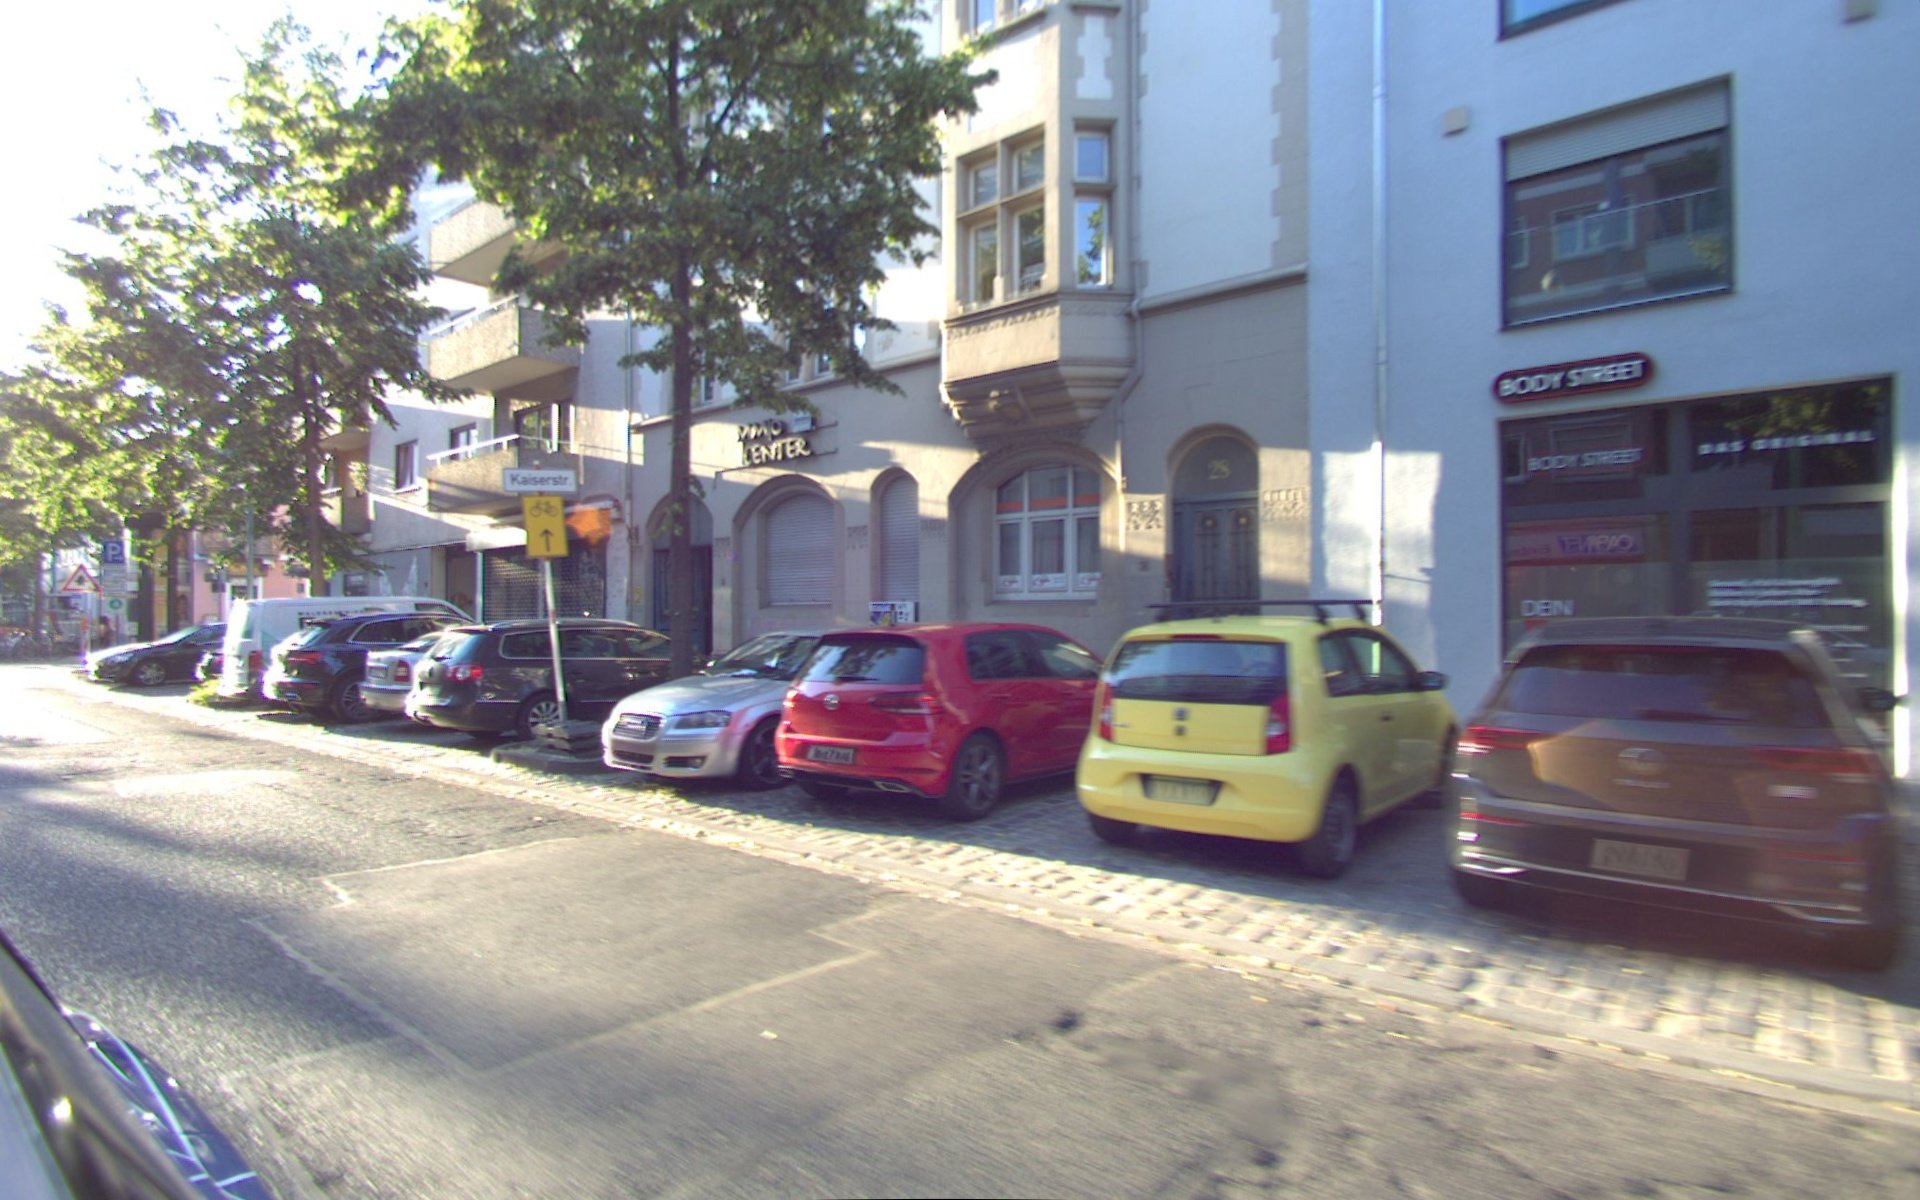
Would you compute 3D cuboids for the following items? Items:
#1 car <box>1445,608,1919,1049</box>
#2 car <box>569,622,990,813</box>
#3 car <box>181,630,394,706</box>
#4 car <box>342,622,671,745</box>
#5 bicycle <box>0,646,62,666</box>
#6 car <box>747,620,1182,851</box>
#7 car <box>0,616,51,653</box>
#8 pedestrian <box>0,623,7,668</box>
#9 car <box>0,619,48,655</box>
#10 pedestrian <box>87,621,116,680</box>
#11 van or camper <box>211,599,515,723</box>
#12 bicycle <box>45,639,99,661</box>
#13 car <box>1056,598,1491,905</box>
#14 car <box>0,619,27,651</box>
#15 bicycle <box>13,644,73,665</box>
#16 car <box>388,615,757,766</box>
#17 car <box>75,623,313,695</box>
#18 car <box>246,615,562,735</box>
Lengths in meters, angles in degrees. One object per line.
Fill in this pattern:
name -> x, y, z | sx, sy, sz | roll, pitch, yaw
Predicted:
car -> 4.079, 0.848, 5.579 | 1.742, 1.579, 3.829 | -1, -1, 38
car -> -1.572, 0.972, 10.051 | 1.741, 1.397, 4.004 | -2, -1, 37
car -> -14.295, 1.389, 21.644 | 1.512, 1.424, 3.535 | -1, -1, 42
car -> -6.574, 1.110, 15.038 | 1.731, 1.453, 4.140 | 0, 0, 40
bicycle -> -36.961, 2.220, 40.287 | 1.770, 0.771, 0.408 | 1, -2, -37
car -> 0.242, 0.927, 8.648 | 1.742, 1.468, 3.829 | -1, -1, 38
car -> -49.629, 1.801, 51.821 | 1.813, 1.857, 4.384 | -1, -1, 39
pedestrian -> -36.655, 1.709, 38.031 | 0.787, 1.693, 0.895 | 0, -1, 4
car -> -51.561, 2.002, 53.787 | 1.813, 1.857, 4.384 | -1, -1, 39
pedestrian -> -24.526, 1.437, 28.914 | 0.721, 1.660, 0.543 | -2, -2, 43
van or camper -> -10.633, 1.008, 18.299 | 1.789, 1.971, 4.411 | -2, -2, 42
bicycle -> -38.104, 2.145, 43.440 | 0.441, 0.870, 1.790 | -1, -1, 16
car -> 2.460, 0.809, 7.279 | 1.742, 1.579, 3.829 | -1, -1, 38
car -> -57.098, 2.074, 58.542 | 1.813, 1.857, 4.384 | -1, -1, 39
bicycle -> -37.526, 2.224, 41.446 | 1.770, 0.771, 0.408 | 1, -2, -37
car -> -4.847, 1.015, 13.105 | 1.744, 1.548, 4.139 | 0, 0, 41
car -> -18.691, 1.378, 24.875 | 1.813, 1.536, 4.384 | -1, -1, 39
car -> -8.807, 1.081, 16.300 | 1.732, 1.681, 4.138 | -1, -1, 42
